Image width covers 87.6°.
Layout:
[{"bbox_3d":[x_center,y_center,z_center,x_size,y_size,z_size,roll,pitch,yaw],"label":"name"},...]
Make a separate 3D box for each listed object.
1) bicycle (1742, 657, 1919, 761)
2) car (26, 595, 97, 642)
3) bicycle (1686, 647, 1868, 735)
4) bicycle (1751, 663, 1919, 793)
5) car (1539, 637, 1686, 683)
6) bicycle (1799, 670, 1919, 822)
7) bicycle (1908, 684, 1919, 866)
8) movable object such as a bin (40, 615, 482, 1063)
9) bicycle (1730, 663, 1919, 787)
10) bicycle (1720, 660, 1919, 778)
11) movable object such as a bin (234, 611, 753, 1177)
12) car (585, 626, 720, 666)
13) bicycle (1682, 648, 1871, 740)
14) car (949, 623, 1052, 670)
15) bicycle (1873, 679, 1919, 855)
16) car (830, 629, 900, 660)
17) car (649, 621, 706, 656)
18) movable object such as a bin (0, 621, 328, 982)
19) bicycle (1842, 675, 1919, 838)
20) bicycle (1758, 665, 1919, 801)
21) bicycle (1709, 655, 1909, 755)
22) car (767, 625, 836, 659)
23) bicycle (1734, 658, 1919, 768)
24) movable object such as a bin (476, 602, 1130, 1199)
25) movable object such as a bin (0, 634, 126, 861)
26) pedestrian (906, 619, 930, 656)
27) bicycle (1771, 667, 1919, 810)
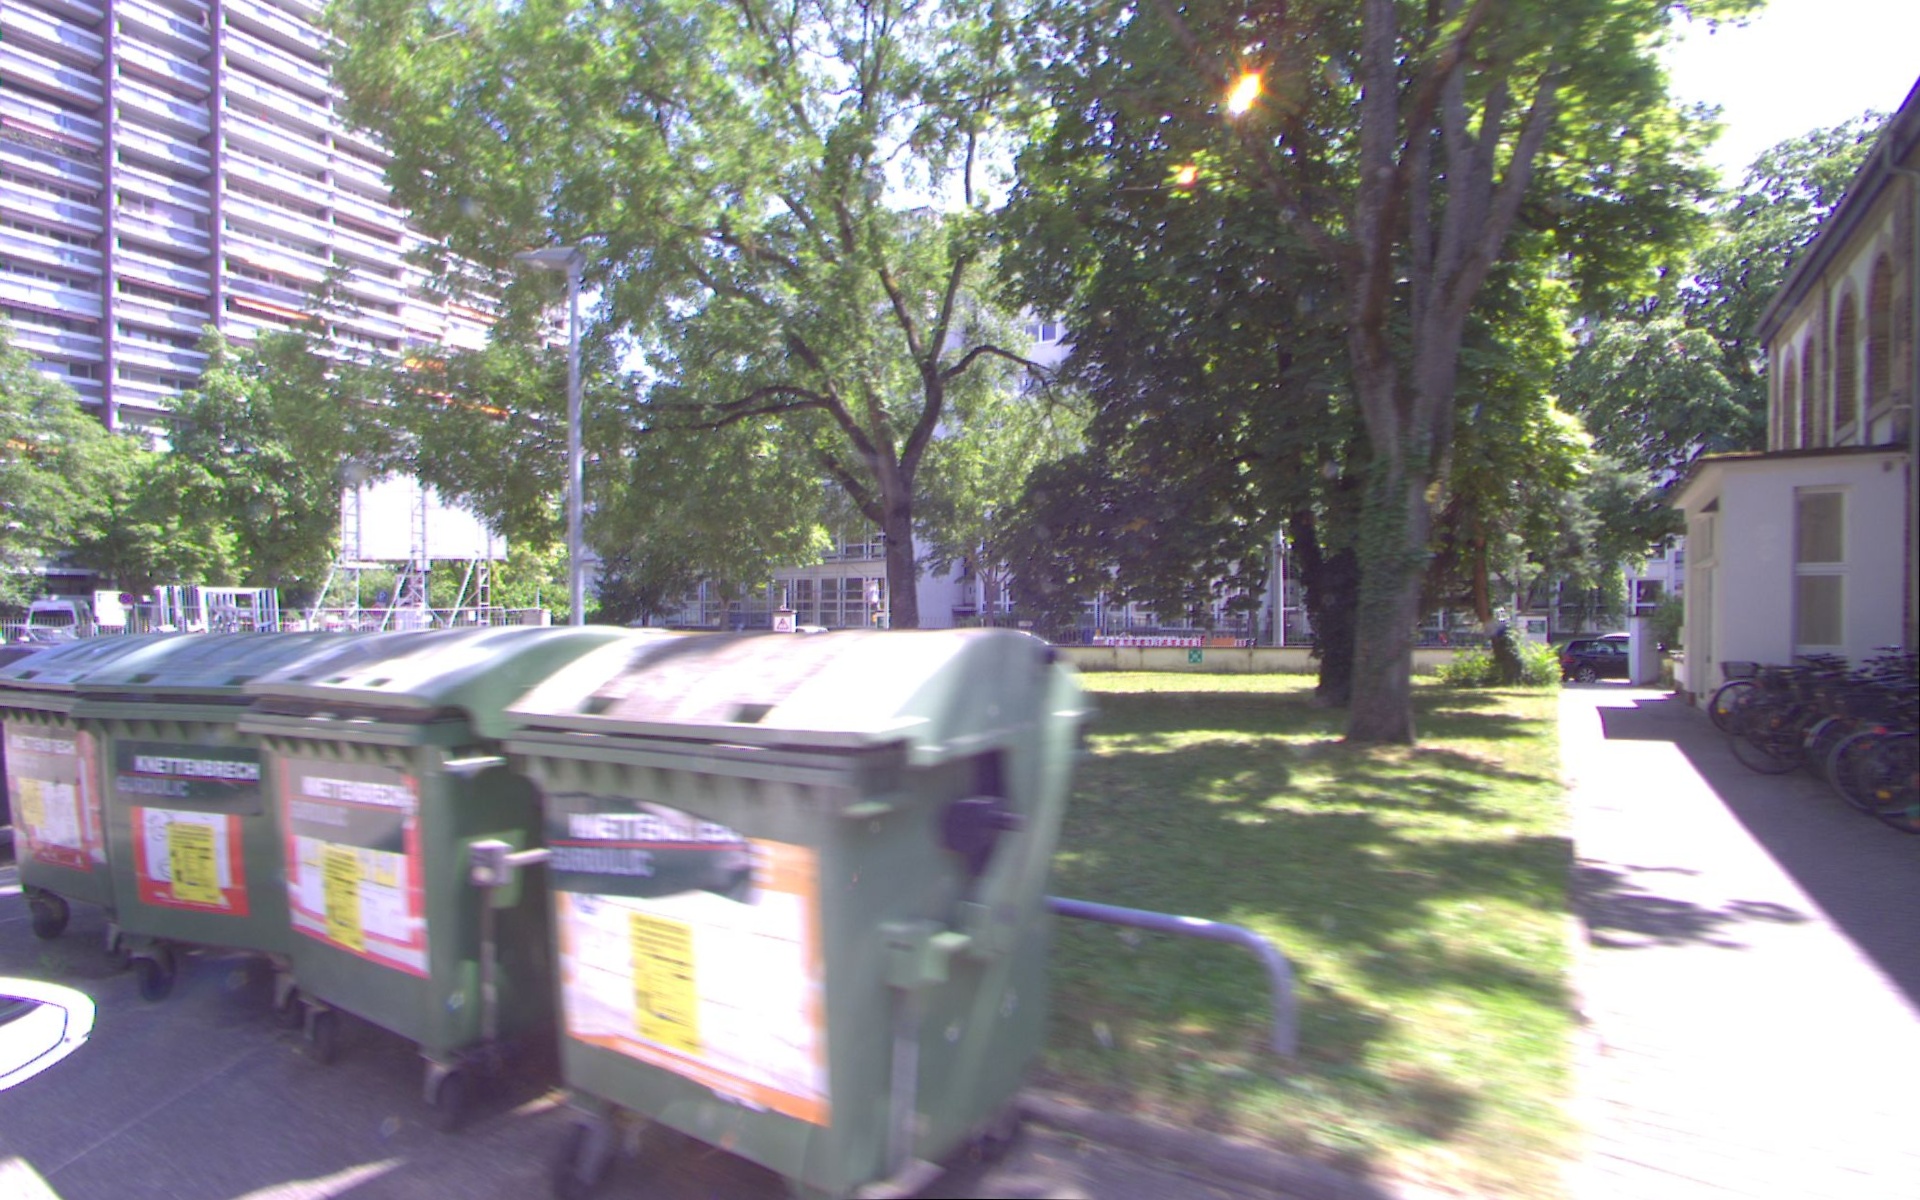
[{"bbox_3d":[10.138,1.226,11.487,1.800,1.116,0.404,-1,-1,33],"label":"bicycle"},{"bbox_3d":[-45.803,0.949,51.145,2.164,2.287,4.835,0,-1,-36],"label":"car"},{"bbox_3d":[10.948,1.228,13.495,1.801,1.115,0.404,-4,-2,32],"label":"bicycle"},{"bbox_3d":[8.385,1.152,9.124,1.800,1.116,0.404,-1,-1,33],"label":"bicycle"},{"bbox_3d":[20.221,1.853,31.146,3.461,1.359,1.654,0,-1,5],"label":"car"},{"bbox_3d":[7.591,1.118,7.616,1.800,1.116,0.404,-1,-1,33],"label":"bicycle"},{"bbox_3d":[6.724,1.077,5.747,1.800,1.116,0.404,-1,-1,33],"label":"bicycle"},{"bbox_3d":[-2.864,0.809,4.128,1.358,1.477,1.073,-1,-1,33],"label":"movable object such as a bin"},{"bbox_3d":[8.629,1.189,9.715,1.800,1.116,0.404,-1,-1,33],"label":"bicycle"},{"bbox_3d":[9.023,1.203,10.366,1.800,1.116,0.404,-1,-1,33],"label":"bicycle"},{"bbox_3d":[-1.583,0.787,3.441,1.358,1.477,1.073,-1,-1,33],"label":"movable object such as a bin"},{"bbox_3d":[-11.634,1.731,38.046,4.595,1.456,1.674,0,-1,3],"label":"car"},{"bbox_3d":[10.474,1.216,12.922,1.801,1.115,0.404,-4,-2,32],"label":"bicycle"},{"bbox_3d":[1.316,1.507,32.570,3.267,1.498,1.433,0,-1,3],"label":"car"},{"bbox_3d":[6.972,1.088,6.267,1.800,1.116,0.404,-1,-1,33],"label":"bicycle"},{"bbox_3d":[-4.680,2.125,48.887,1.650,1.433,3.682,1,-1,-39],"label":"car"},{"bbox_3d":[-14.065,1.900,49.662,1.987,1.650,3.913,0,-1,-28],"label":"car"},{"bbox_3d":[-4.016,0.847,4.930,1.358,1.477,1.073,-1,-1,33],"label":"movable object such as a bin"},{"bbox_3d":[7.309,1.102,6.893,1.800,1.116,0.404,-1,-1,33],"label":"bicycle"},{"bbox_3d":[8.105,1.142,8.685,1.800,1.116,0.404,-1,-1,33],"label":"bicycle"},{"bbox_3d":[10.220,1.241,12.136,1.800,1.116,0.404,-1,-1,33],"label":"bicycle"},{"bbox_3d":[-7.837,2.061,49.378,1.652,1.610,3.659,1,-1,-42],"label":"car"},{"bbox_3d":[9.689,1.216,11.022,1.800,1.116,0.404,-1,-1,33],"label":"bicycle"},{"bbox_3d":[-0.394,0.764,2.659,1.358,1.477,1.073,-1,-1,33],"label":"movable object such as a bin"},{"bbox_3d":[-6.780,0.982,7.031,1.358,1.477,1.073,-1,-1,33],"label":"movable object such as a bin"},{"bbox_3d":[-2.366,2.108,56.341,0.985,2.040,0.870,0,-1,-39],"label":"pedestrian"},{"bbox_3d":[7.845,1.132,8.216,1.800,1.116,0.404,-1,-1,33],"label":"bicycle"}]
